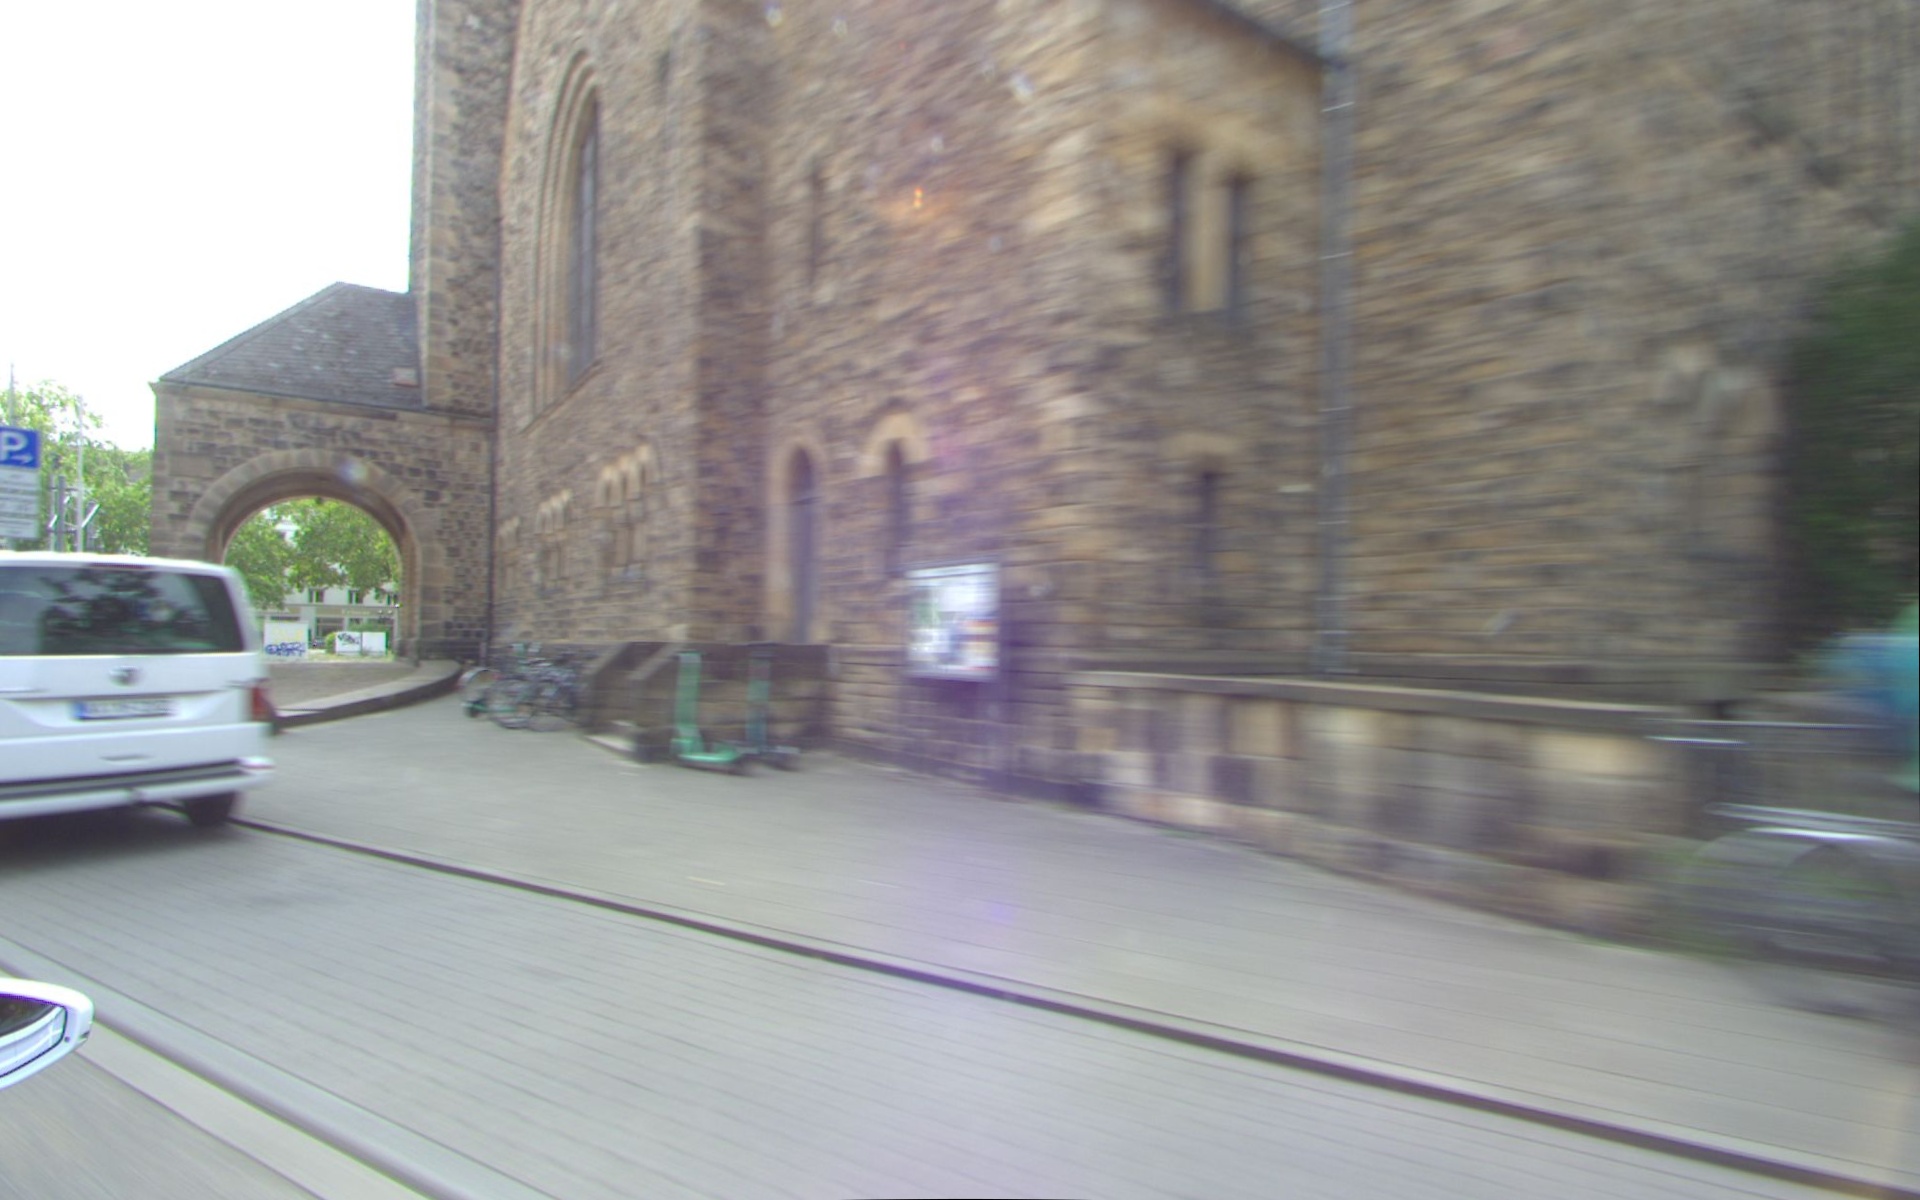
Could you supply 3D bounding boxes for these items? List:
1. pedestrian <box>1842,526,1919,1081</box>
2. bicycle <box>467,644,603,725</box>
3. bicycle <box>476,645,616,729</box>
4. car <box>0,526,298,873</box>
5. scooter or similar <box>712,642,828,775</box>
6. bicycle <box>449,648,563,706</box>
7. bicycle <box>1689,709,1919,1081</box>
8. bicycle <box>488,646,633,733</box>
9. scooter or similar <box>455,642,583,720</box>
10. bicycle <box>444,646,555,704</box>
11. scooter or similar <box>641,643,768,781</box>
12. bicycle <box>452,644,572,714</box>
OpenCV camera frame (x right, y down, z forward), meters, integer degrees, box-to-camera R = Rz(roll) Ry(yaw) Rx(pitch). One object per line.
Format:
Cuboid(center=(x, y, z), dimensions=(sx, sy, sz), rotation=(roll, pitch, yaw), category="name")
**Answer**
Cuboid(center=(3.279, 0.642, 3.184), dimensions=(0.499, 1.741, 0.532), rotation=(1, -1, 10), category="pedestrian")
Cuboid(center=(-6.265, 1.227, 14.816), dimensions=(1.763, 1.126, 0.541), rotation=(2, -2, -40), category="bicycle")
Cuboid(center=(-5.902, 1.214, 14.323), dimensions=(1.755, 1.126, 0.541), rotation=(2, -2, -40), category="bicycle")
Cuboid(center=(-7.527, 0.588, 7.765), dimensions=(5.047, 2.056, 2.012), rotation=(0, -1, 31), category="car")
Cuboid(center=(-1.945, 1.047, 10.128), dimensions=(0.540, 1.222, 1.469), rotation=(2, -2, -38), category="scooter or similar")
Cuboid(center=(-8.032, 1.342, 17.756), dimensions=(1.763, 0.969, 0.541), rotation=(2, -2, -40), category="bicycle")
Cuboid(center=(3.511, 1.005, 3.286), dimensions=(0.528, 1.164, 1.740), rotation=(2, -2, -37), category="bicycle")
Cuboid(center=(-5.490, 1.201, 13.827), dimensions=(1.763, 1.126, 0.541), rotation=(2, -2, -40), category="bicycle")
Cuboid(center=(-6.939, 1.256, 15.800), dimensions=(1.763, 1.154, 0.541), rotation=(2, -2, -40), category="scooter or similar")
Cuboid(center=(-8.403, 1.347, 18.318), dimensions=(1.762, 0.970, 0.541), rotation=(0, 0, -40), category="bicycle")
Cuboid(center=(-2.512, 1.045, 9.764), dimensions=(0.541, 1.222, 1.428), rotation=(2, -2, -44), category="scooter or similar")
Cuboid(center=(-7.549, 1.317, 16.935), dimensions=(1.763, 1.126, 0.541), rotation=(2, -2, -40), category="bicycle")
